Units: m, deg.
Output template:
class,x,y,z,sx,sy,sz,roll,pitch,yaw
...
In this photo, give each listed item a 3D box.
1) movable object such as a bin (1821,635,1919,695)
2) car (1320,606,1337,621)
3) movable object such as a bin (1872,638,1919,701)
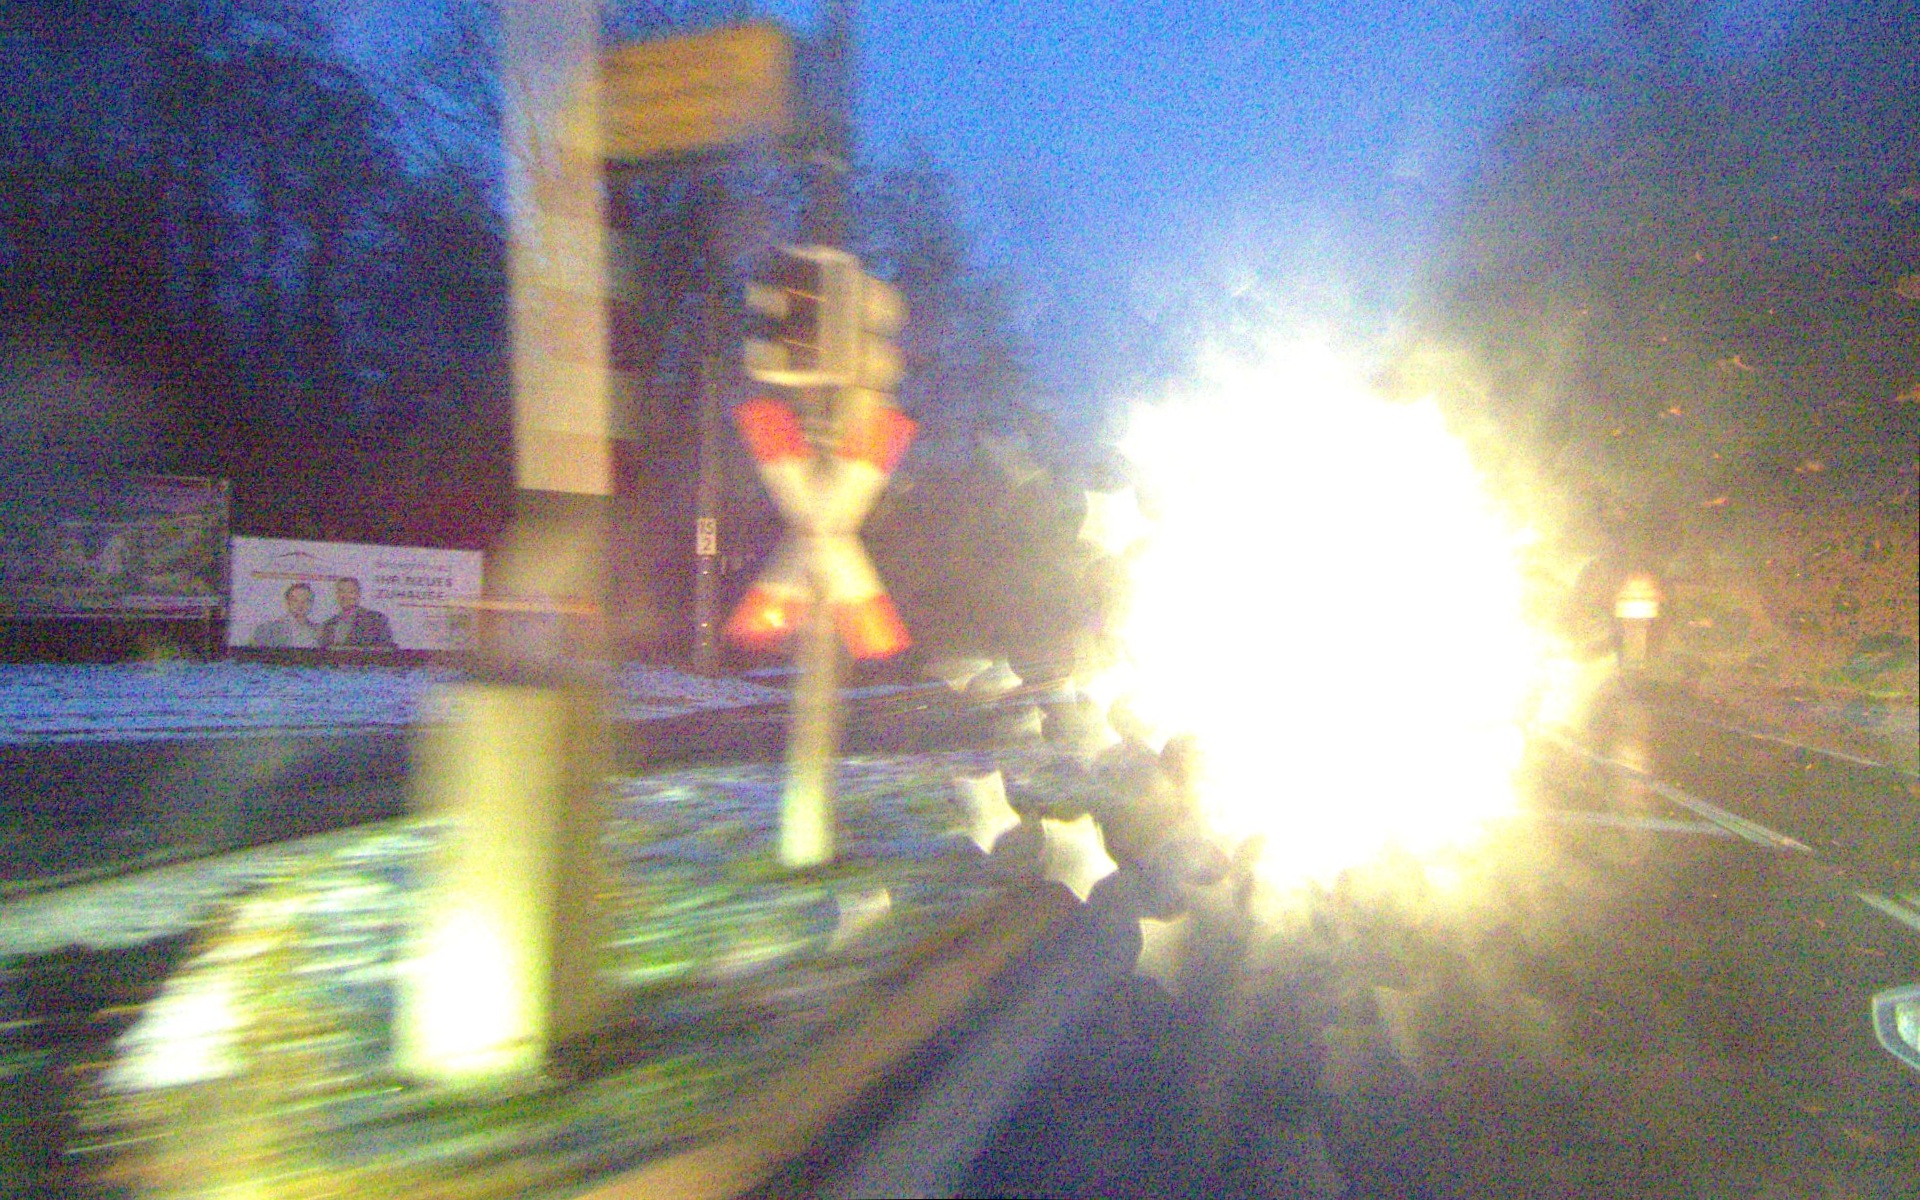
class,x,y,z,sx,sy,sz,roll,pitch,yaw
movable object such as a bin,21.524,1.513,23.788,1.157,1.326,1.318,0,0,-17
car,42.061,1.505,114.645,1.857,1.694,3.999,0,0,20
movable object such as a bin,21.455,1.540,22.408,1.134,1.343,1.229,1,0,-15
